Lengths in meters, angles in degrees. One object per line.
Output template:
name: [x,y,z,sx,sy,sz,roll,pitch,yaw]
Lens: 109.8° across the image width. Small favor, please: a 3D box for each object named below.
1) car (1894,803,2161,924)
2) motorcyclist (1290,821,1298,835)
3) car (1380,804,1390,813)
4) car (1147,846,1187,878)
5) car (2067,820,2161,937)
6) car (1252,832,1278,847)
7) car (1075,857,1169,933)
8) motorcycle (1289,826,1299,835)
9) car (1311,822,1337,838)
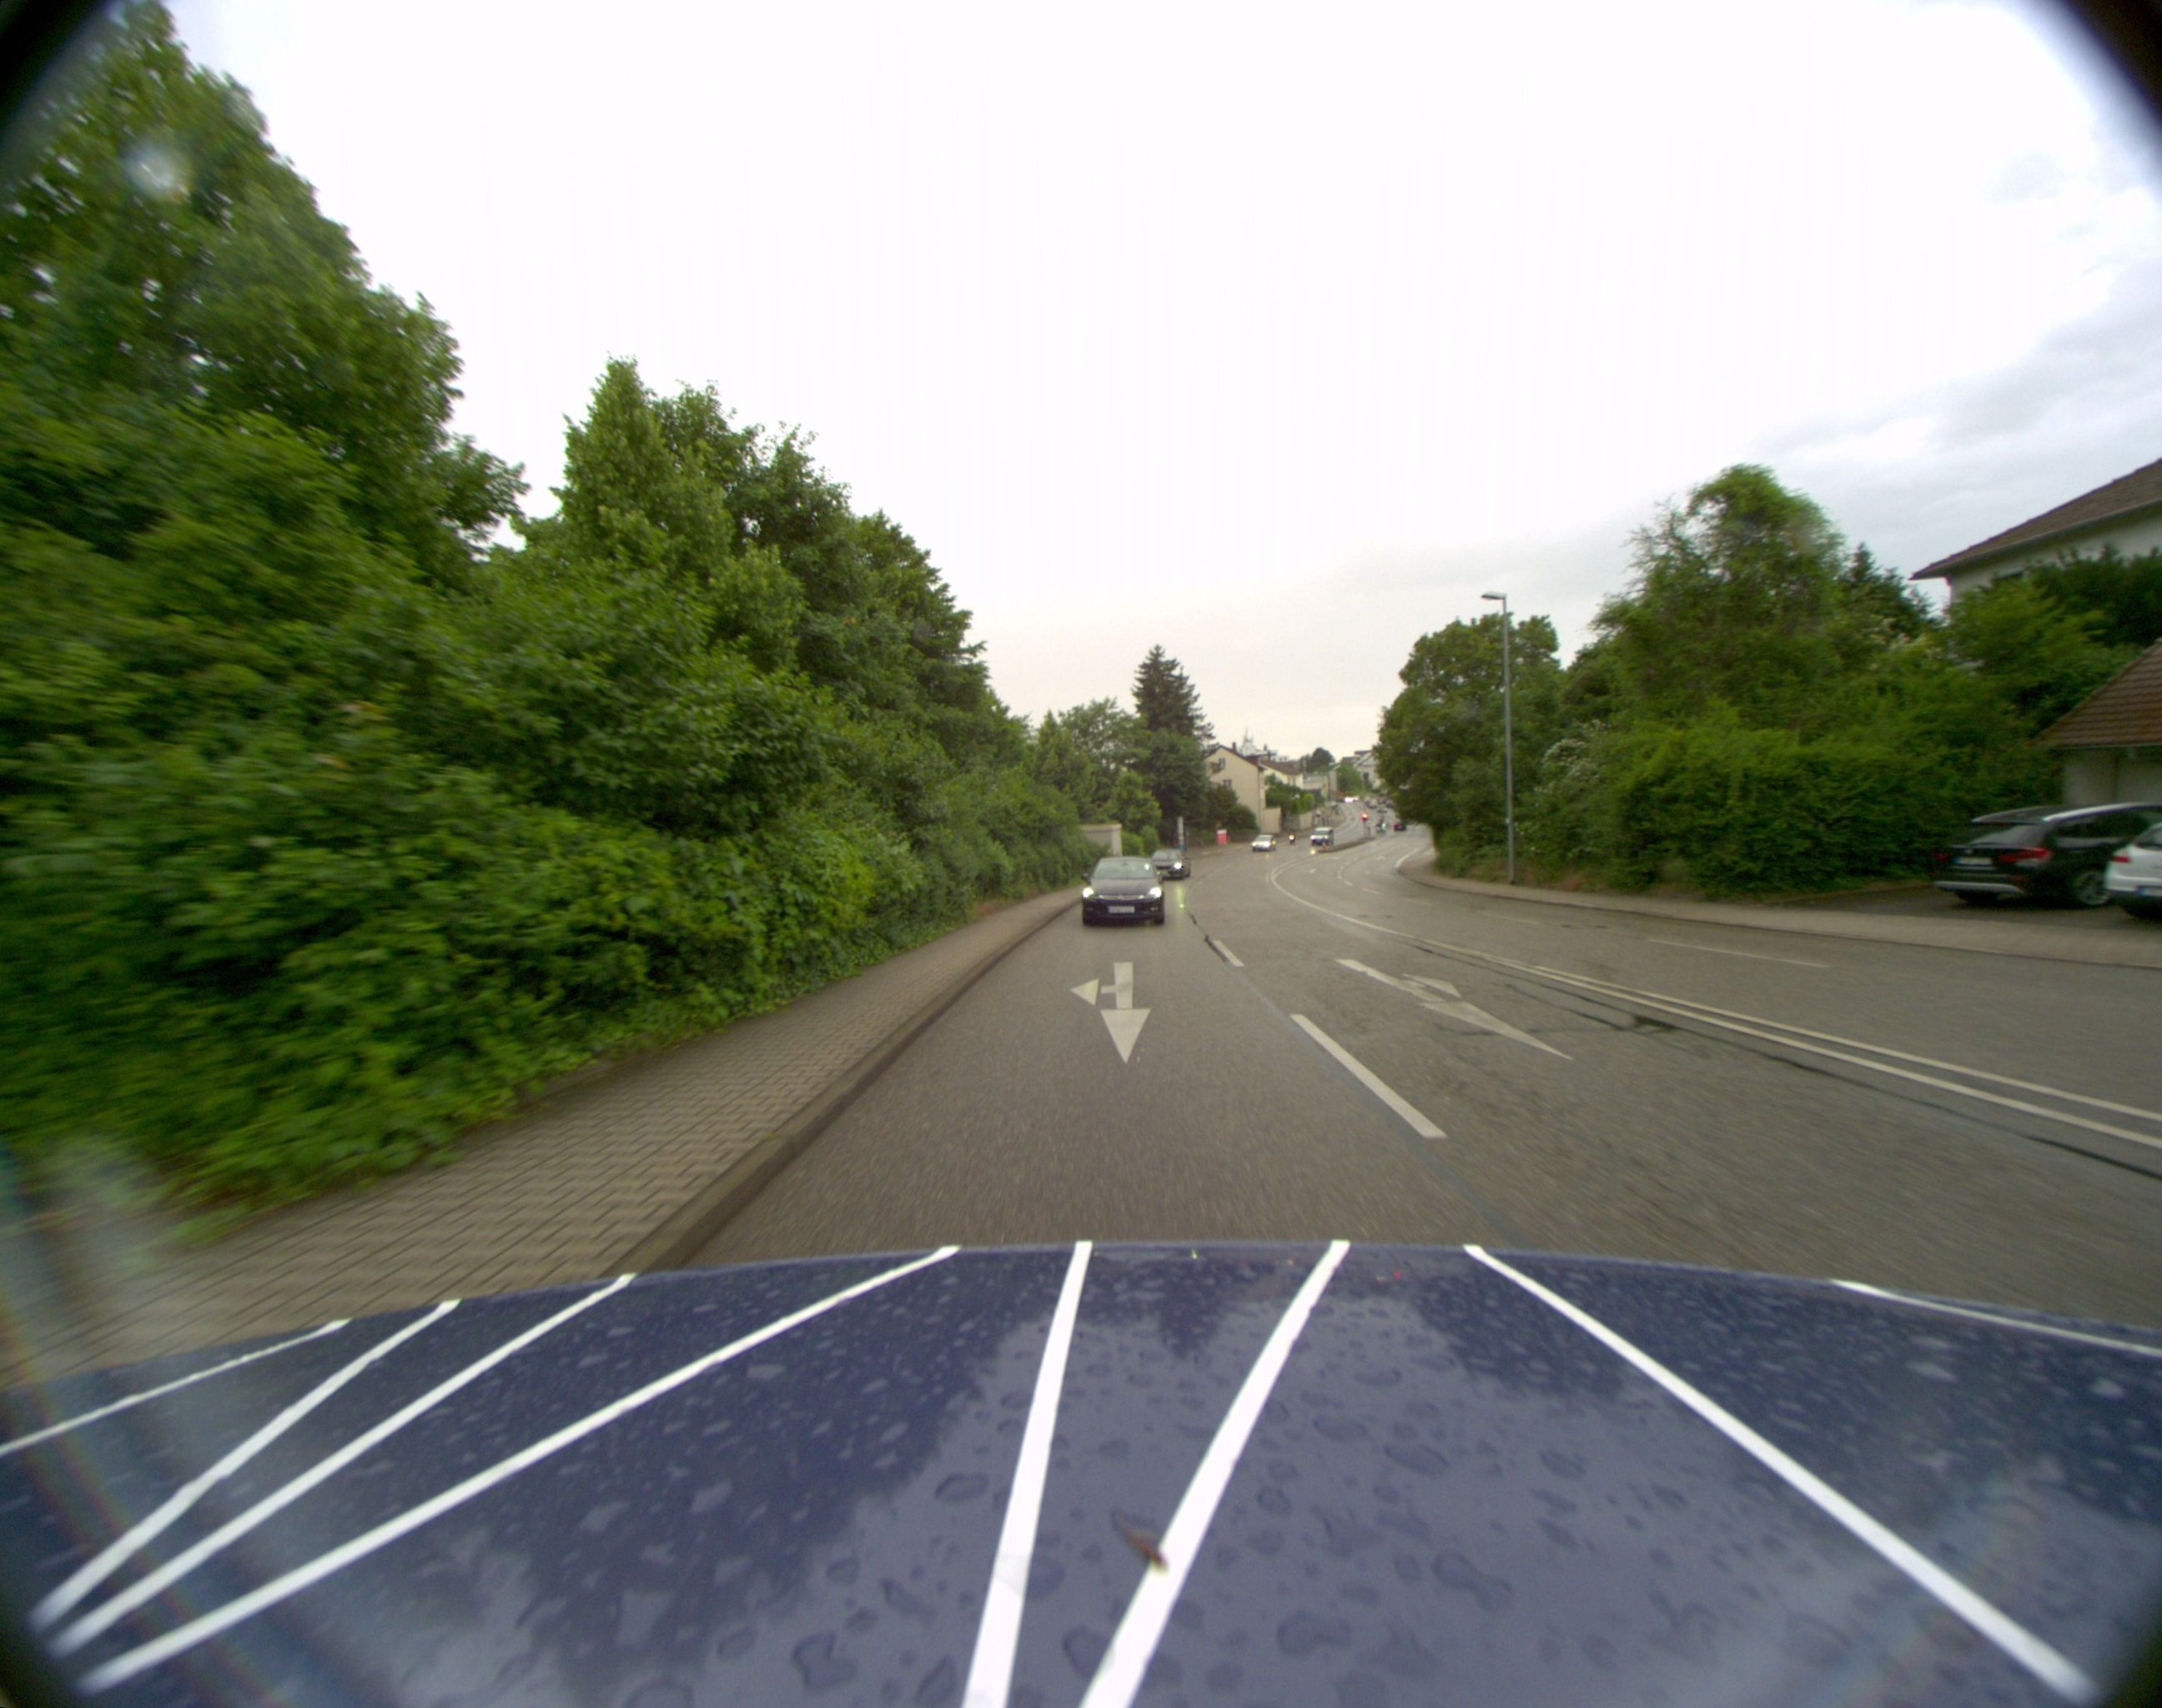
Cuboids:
car: [16.742,0.101,12.689,3.996,1.527,2.000,-7,0,2]
motorcyclist: [24.781,-3.034,88.333,0.765,1.633,0.675,0,2,29]
car: [66.780,-10.004,166.876,1.850,1.774,4.005,-1,1,19]
car: [4.425,0.382,38.798,1.871,1.497,4.199,-2,1,7]
car: [16.119,0.156,9.904,3.910,1.432,1.811,-7,0,3]
car: [18.229,-1.428,75.071,1.814,1.430,4.006,1,1,24]
car: [1.055,0.834,17.376,1.815,1.434,4.164,-1,1,7]
motorcycle: [24.841,-2.738,88.453,0.691,1.047,1.750,1,2,30]
car: [27.140,-2.671,84.657,1.774,1.765,4.008,1,1,33]
